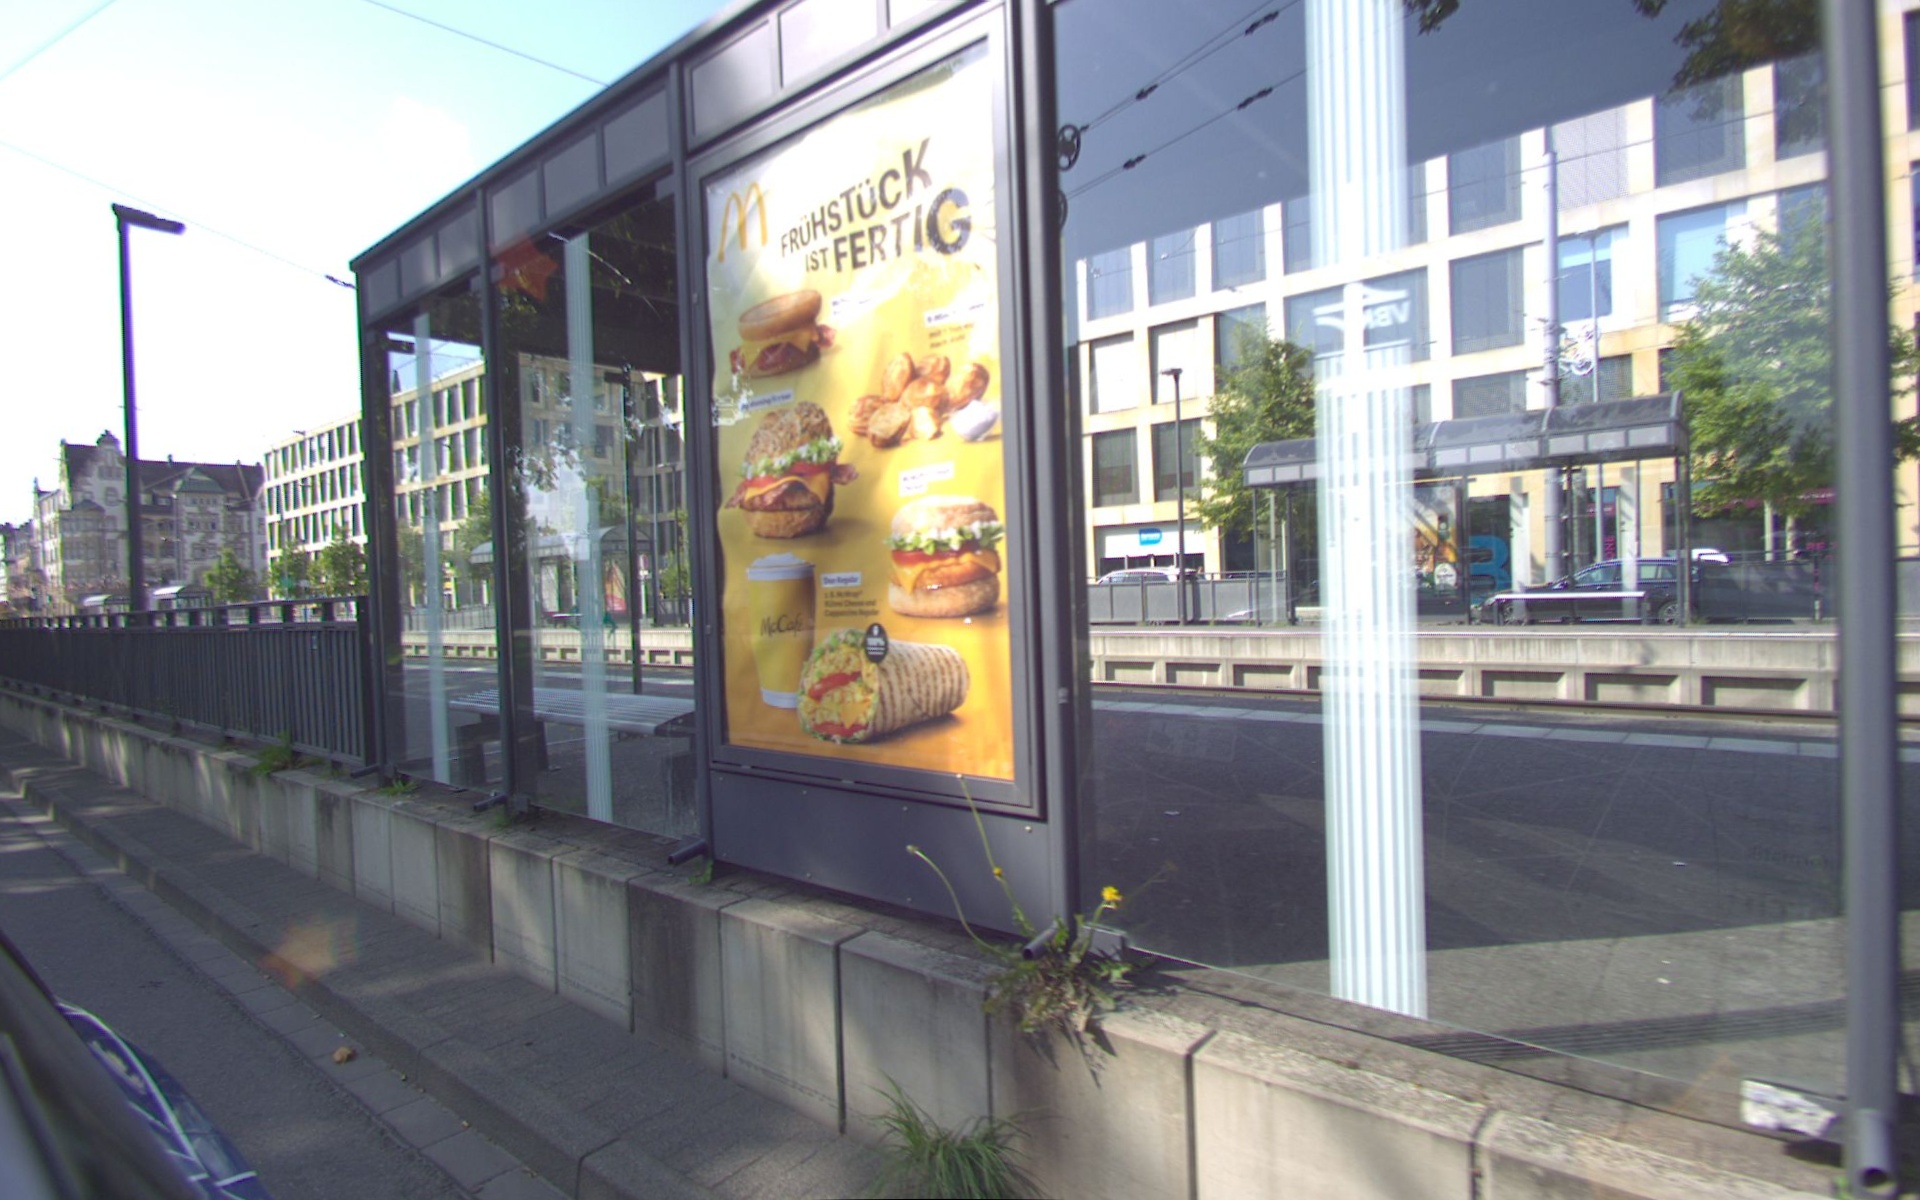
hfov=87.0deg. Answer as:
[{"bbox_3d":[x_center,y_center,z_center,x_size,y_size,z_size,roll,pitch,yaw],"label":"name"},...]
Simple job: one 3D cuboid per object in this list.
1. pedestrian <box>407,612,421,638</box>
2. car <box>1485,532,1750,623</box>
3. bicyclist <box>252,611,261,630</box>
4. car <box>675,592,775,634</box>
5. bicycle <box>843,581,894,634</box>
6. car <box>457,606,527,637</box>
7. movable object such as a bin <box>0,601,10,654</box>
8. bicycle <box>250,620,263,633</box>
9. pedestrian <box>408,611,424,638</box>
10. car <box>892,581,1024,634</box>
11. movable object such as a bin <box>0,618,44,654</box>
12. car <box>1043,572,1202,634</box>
[{"bbox_3d":[-42.776,1.990,79.303,0.822,2.029,0.758,-1,-2,44],"label":"pedestrian"},{"bbox_3d":[13.276,-0.382,20.582,4.308,1.615,1.746,-2,-1,40],"label":"car"},{"bbox_3d":[-50.673,1.498,72.932,0.447,1.371,0.383,-2,0,40],"label":"bicyclist"},{"bbox_3d":[-9.483,0.549,40.759,4.128,1.586,1.746,-2,-1,39],"label":"car"},{"bbox_3d":[-2.118,0.173,23.257,0.465,1.156,1.487,-3,1,-35],"label":"bicycle"},{"bbox_3d":[-24.780,1.158,53.512,4.128,1.546,1.746,-2,-1,39],"label":"car"},{"bbox_3d":[-85.135,2.515,88.190,4.211,4.588,2.955,-3,0,42],"label":"movable object such as a bin"},{"bbox_3d":[-50.719,1.923,72.987,1.575,0.886,0.384,-2,0,41],"label":"bicycle"},{"bbox_3d":[-40.186,1.812,74.741,0.822,2.029,0.758,-1,-2,44],"label":"pedestrian"},{"bbox_3d":[-0.101,0.253,32.960,4.128,1.586,1.746,-2,-1,39],"label":"car"},{"bbox_3d":[-89.922,3.472,95.456,3.547,3.247,4.091,-3,0,25],"label":"movable object such as a bin"},{"bbox_3d":[4.565,0.100,28.703,4.128,1.615,1.746,-2,-1,39],"label":"car"}]
